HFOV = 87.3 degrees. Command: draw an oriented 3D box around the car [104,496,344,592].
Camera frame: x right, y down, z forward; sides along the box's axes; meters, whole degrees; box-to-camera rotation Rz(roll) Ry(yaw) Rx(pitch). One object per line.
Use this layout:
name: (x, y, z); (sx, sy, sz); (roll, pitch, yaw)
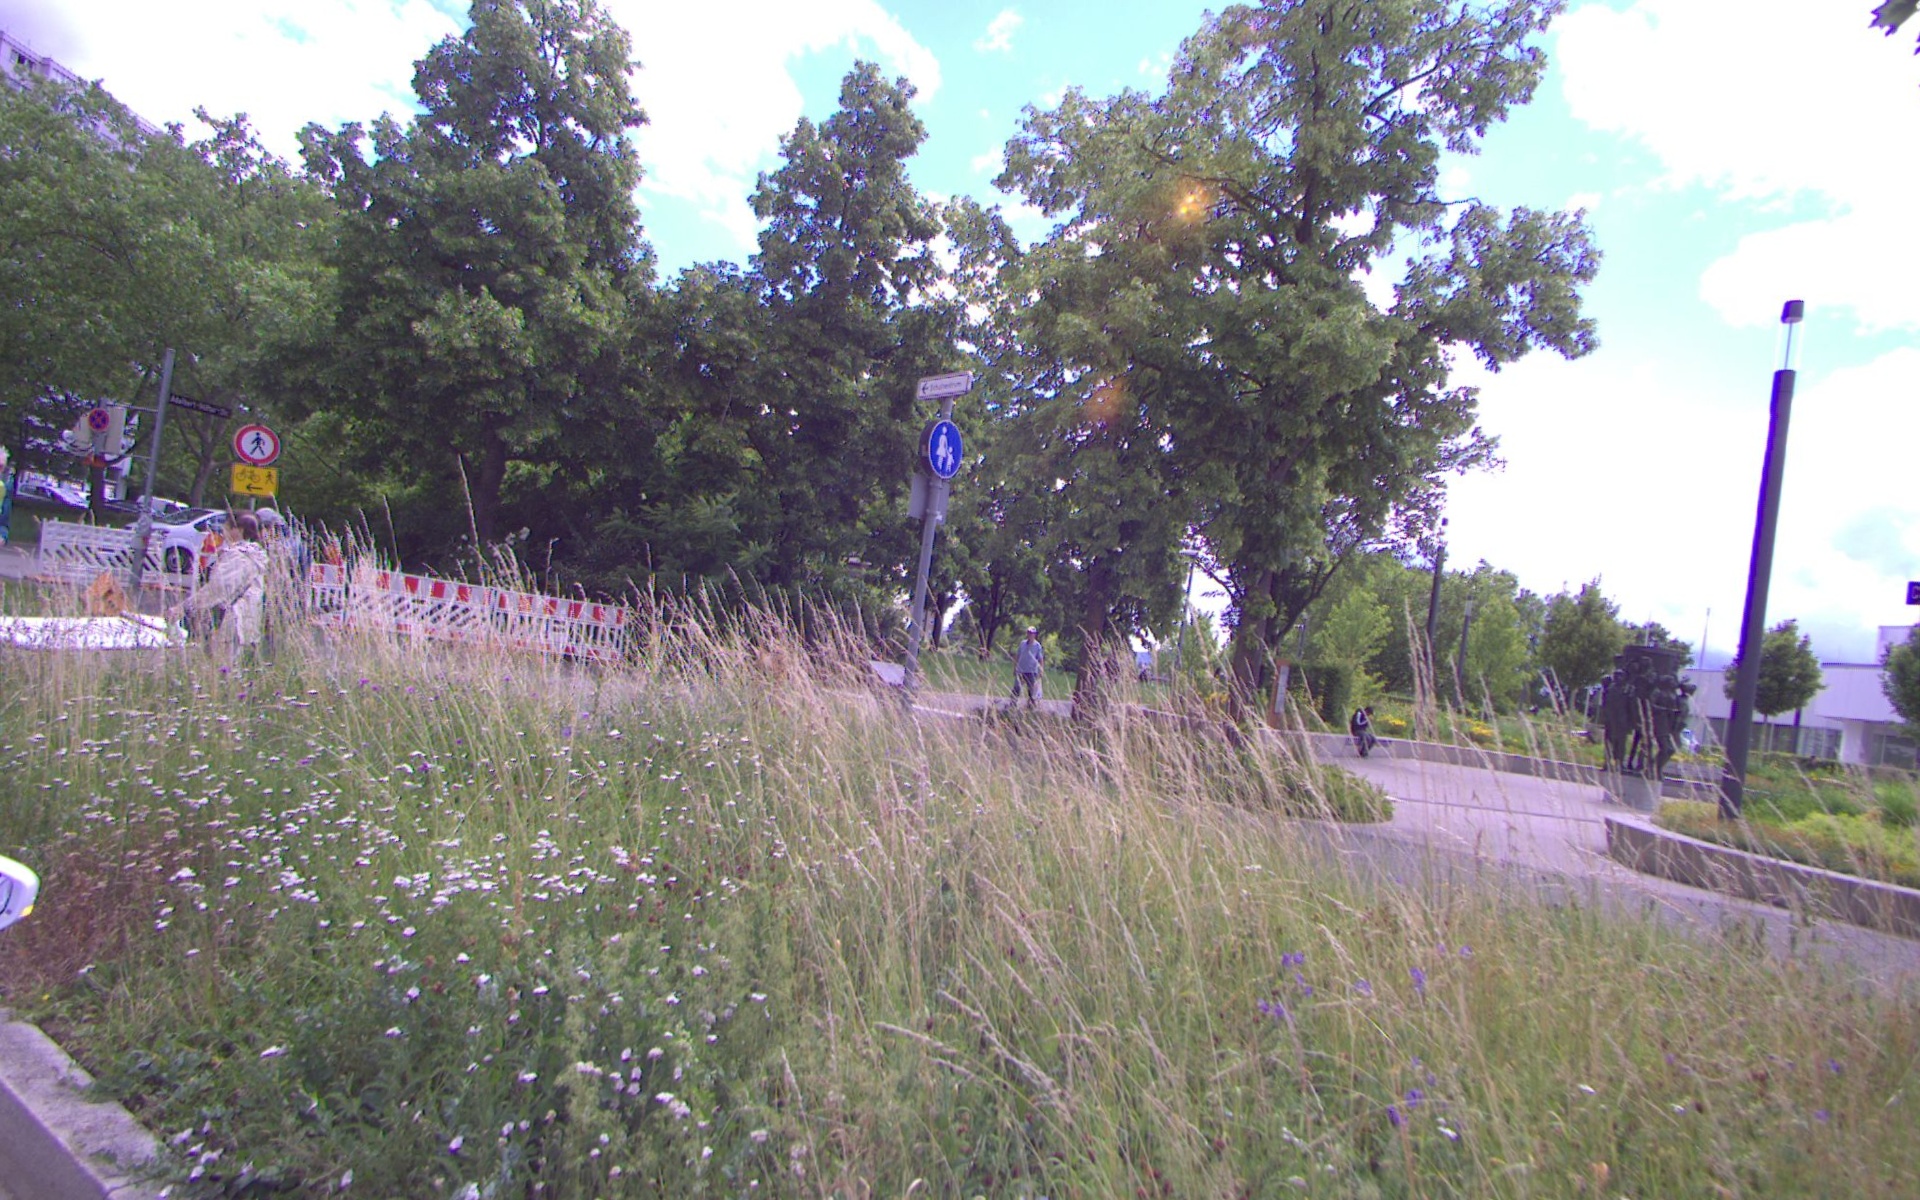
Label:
car: (-20.876, -1.516, 28.813); (1.915, 1.895, 5.090); (7, -2, 28)

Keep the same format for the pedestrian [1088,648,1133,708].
pedestrian: (4.456, 2.328, 29.841); (0.879, 1.647, 0.817); (8, -1, 30)

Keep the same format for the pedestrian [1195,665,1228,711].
pedestrian: (9.967, 3.497, 39.808); (0.872, 1.681, 0.817); (8, -1, 30)

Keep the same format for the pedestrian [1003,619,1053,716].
pedestrian: (1.397, 1.369, 20.556); (0.757, 1.862, 0.765); (7, -1, 7)

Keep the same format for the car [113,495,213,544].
car: (-45.491, -4.593, 57.469); (3.926, 2.037, 2.001); (8, -1, 0)

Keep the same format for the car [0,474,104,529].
car: (-44.937, -4.842, 49.350); (3.926, 2.037, 2.001); (8, -1, 0)

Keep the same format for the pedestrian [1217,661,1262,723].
pedestrian: (10.028, 3.296, 36.122); (1.137, 2.037, 0.817); (8, 0, 30)

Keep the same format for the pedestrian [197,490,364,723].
pedestrian: (-5.290, 0.057, 7.900); (0.862, 1.654, 0.759); (8, 0, -31)

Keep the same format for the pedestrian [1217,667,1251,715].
pedestrian: (10.662, 3.544, 39.129); (0.879, 1.733, 0.817); (8, -1, 30)

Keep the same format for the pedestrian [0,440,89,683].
pedestrian: (-7.633, -0.340, 7.675); (0.997, 1.795, 0.946); (8, 0, -14)

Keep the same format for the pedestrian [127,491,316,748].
pedestrian: (-5.211, 0.141, 7.167); (0.816, 1.659, 0.728); (8, 0, -29)

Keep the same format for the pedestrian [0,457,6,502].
pedestrian: (-6.232, -0.071, 5.857); (0.820, 1.690, 0.724); (8, -1, -44)

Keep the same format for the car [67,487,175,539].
car: (-45.034, -4.667, 54.066); (3.926, 2.037, 2.001); (8, -1, 0)

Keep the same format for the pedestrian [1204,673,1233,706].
pedestrian: (13.739, 4.743, 53.564); (1.135, 1.572, 0.818); (7, -1, -2)

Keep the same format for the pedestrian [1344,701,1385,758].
pedestrian: (9.624, 3.079, 23.928); (0.623, 1.236, 0.618); (7, -1, 36)
